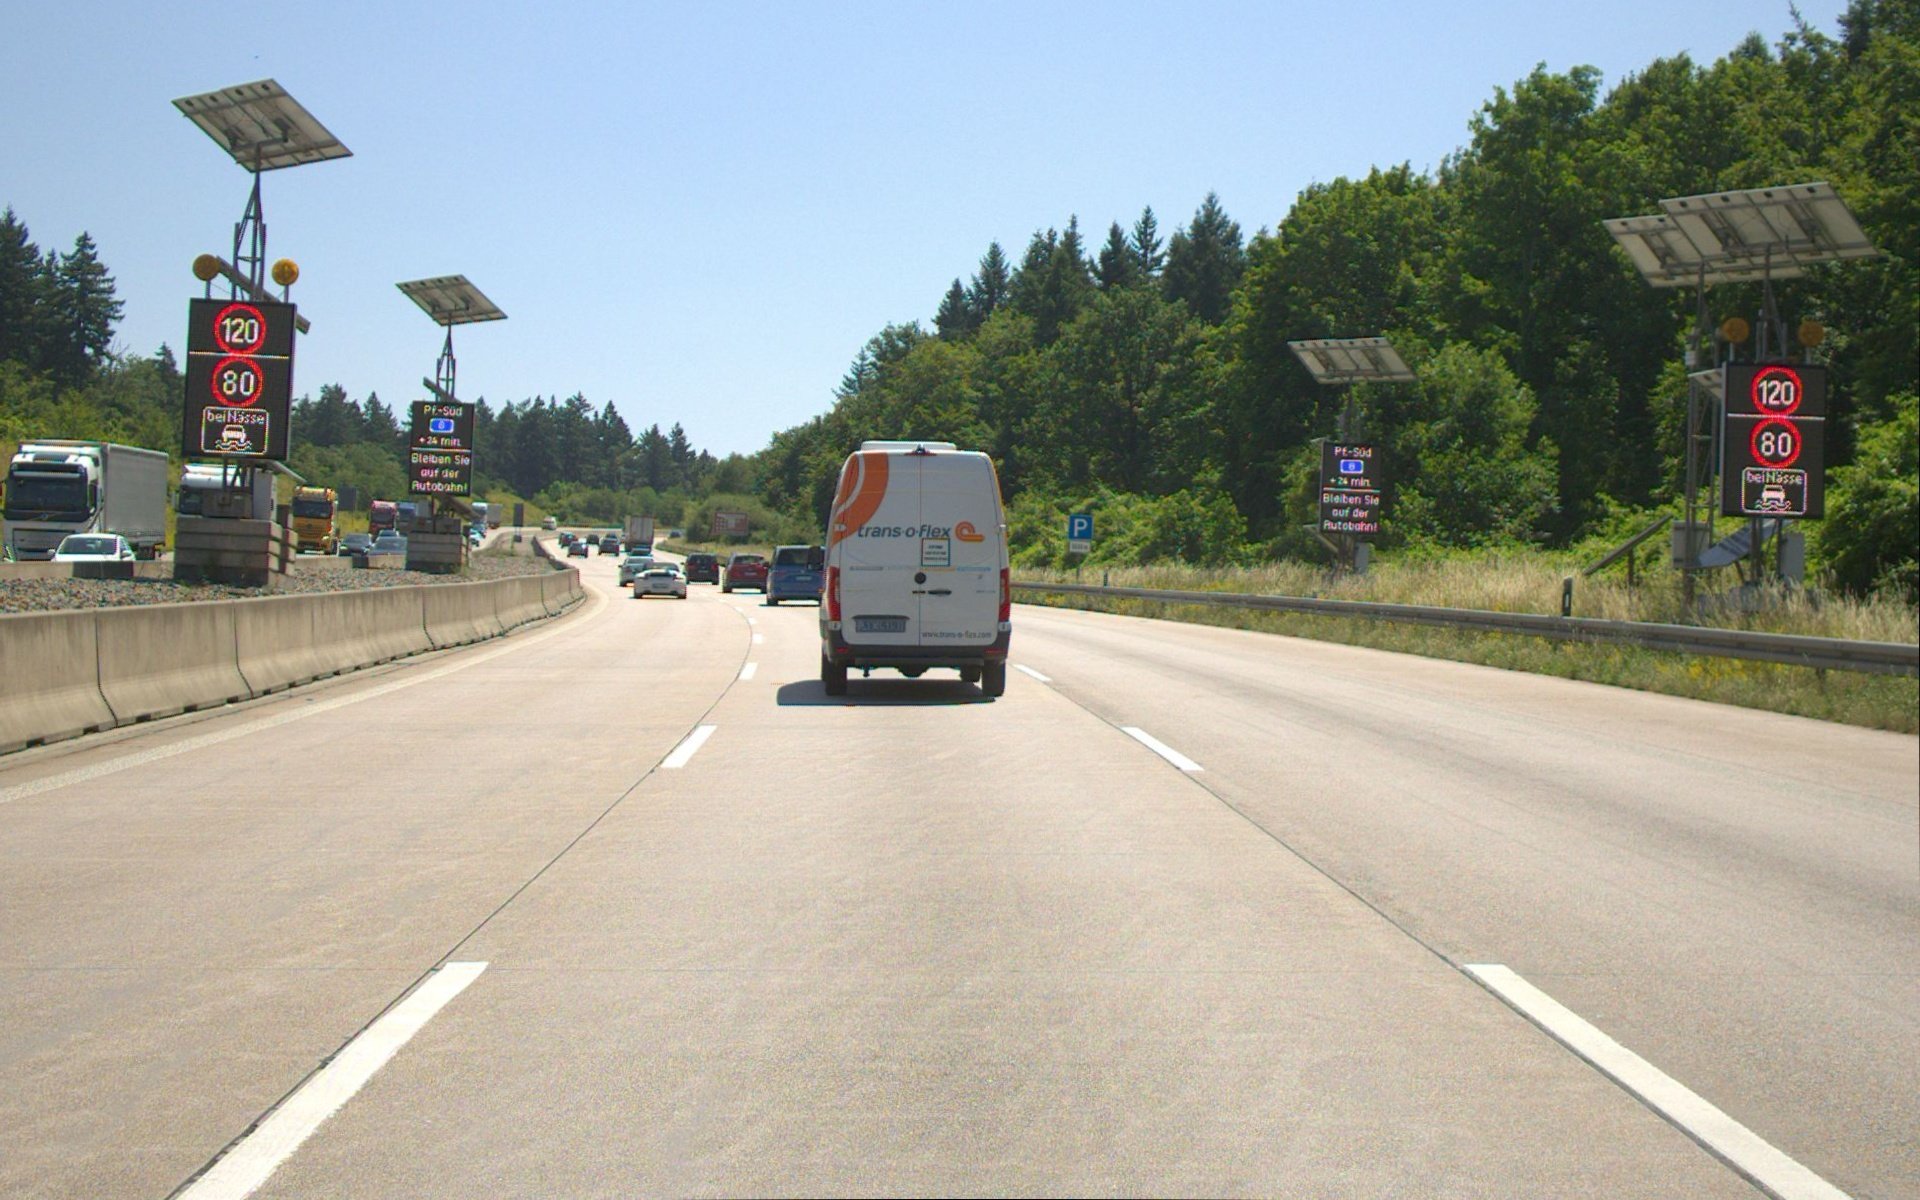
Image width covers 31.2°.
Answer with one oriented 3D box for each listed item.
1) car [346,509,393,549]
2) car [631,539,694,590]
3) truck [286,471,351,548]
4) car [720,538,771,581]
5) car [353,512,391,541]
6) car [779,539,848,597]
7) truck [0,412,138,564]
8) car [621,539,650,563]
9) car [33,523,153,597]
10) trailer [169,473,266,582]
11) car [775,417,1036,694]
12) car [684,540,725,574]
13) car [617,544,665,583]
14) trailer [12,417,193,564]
[{"bbox_3d":[-30.173,-3.630,175.630,1.993,2.007,4.001,1,1,-5],"label":"car"},{"bbox_3d":[-10.468,-1.243,121.149,1.993,1.678,4.001,3,0,-3],"label":"car"},{"bbox_3d":[-38.608,-5.396,207.160,2.913,4.498,11.261,1,1,-6],"label":"truck"},{"bbox_3d":[-8.831,-1.675,141.734,1.993,1.678,4.001,3,0,-3],"label":"car"},{"bbox_3d":[-42.094,-5.257,246.315,2.283,2.007,4.804,1,1,-5],"label":"car"},{"bbox_3d":[-4.592,-1.021,107.447,1.993,1.678,4.001,3,0,-3],"label":"car"},{"bbox_3d":[-26.038,-3.194,100.160,2.933,4.154,6.230,3,0,-4],"label":"truck"},{"bbox_3d":[-24.369,-3.654,258.145,1.993,1.678,4.001,3,0,-3],"label":"car"},{"bbox_3d":[-20.411,-0.952,81.045,1.993,1.678,4.001,0,1,-3],"label":"car"},{"bbox_3d":[-30.209,-2.934,140.156,2.933,4.154,6.892,3,0,-6],"label":"trailer"},{"bbox_3d":[-0.703,-0.531,38.401,2.226,2.834,5.456,1,1,-8],"label":"car"},{"bbox_3d":[-13.239,-2.224,178.463,1.993,1.678,4.001,3,0,-3],"label":"car"},{"bbox_3d":[-14.794,-1.698,159.740,1.993,1.678,4.001,3,0,-3],"label":"car"},{"bbox_3d":[-26.605,-3.284,107.453,2.933,4.154,14.390,3,1,-4],"label":"trailer"}]
